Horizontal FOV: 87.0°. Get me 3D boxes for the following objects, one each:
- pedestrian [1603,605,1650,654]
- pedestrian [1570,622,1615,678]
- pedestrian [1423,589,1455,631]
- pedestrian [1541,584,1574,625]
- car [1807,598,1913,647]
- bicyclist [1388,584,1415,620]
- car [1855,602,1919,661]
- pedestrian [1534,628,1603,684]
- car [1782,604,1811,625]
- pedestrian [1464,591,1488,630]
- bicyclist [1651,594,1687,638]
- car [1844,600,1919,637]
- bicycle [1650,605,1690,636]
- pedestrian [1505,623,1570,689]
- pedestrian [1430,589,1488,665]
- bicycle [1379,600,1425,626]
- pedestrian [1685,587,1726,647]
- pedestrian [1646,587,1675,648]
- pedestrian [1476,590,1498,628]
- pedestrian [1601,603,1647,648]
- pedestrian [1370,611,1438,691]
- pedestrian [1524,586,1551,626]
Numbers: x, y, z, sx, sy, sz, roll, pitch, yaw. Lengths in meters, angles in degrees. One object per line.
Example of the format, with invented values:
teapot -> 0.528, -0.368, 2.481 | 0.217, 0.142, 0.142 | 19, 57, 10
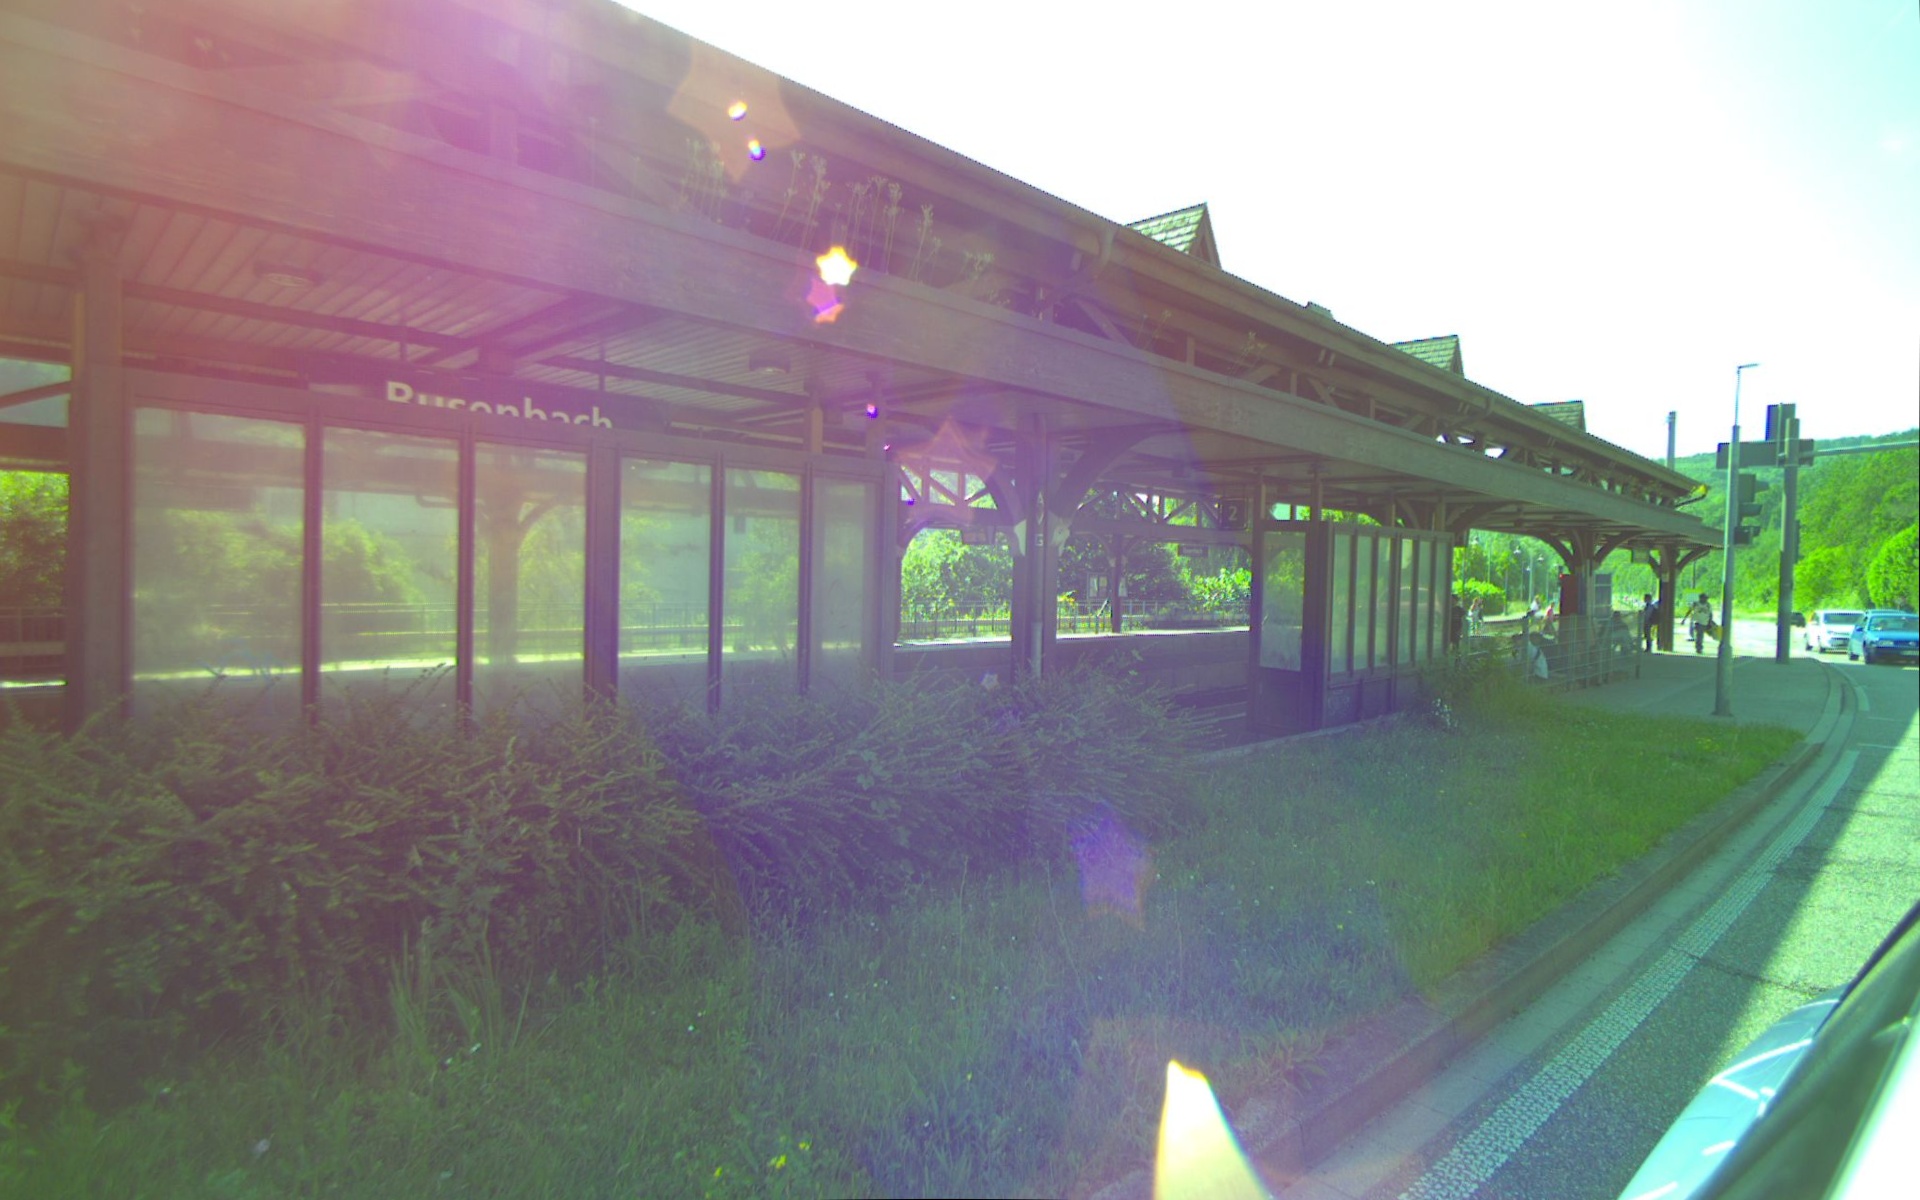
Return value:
pedestrian -> 17.412, 0.773, 26.445 | 0.988, 1.251, 0.589 | -1, -2, 36
pedestrian -> 11.261, 0.883, 18.032 | 0.616, 0.978, 0.400 | -1, -2, 42
pedestrian -> 21.878, 0.451, 46.211 | 1.054, 1.867, 0.989 | 3, -2, -42
pedestrian -> 25.408, 0.214, 43.046 | 0.805, 1.706, 0.905 | 1, -2, -14
car -> 30.912, 0.751, 34.898 | 1.984, 1.605, 3.955 | -1, -1, 31
bicyclist -> 21.090, 0.108, 48.347 | 0.805, 1.706, 0.905 | 1, -2, -27
car -> 26.411, 0.849, 28.065 | 1.854, 1.501, 4.248 | 2, 1, 35
pedestrian -> 10.125, 0.921, 16.844 | 0.844, 0.885, 0.795 | -1, -2, 42
car -> 75.696, 1.322, 91.580 | 1.990, 1.772, 3.942 | -1, -2, 40
pedestrian -> 22.938, 0.474, 44.975 | 0.894, 1.706, 0.815 | 0, -2, 26
bicyclist -> 25.684, 0.574, 36.668 | 0.776, 1.589, 0.942 | -1, -1, 17
car -> 40.172, 0.795, 43.994 | 1.965, 1.523, 3.941 | 0, -1, 31
bicycle -> 25.757, 0.733, 36.739 | 0.595, 1.069, 1.804 | -1, -1, 16
pedestrian -> 9.107, 0.865, 15.949 | 0.741, 0.995, 0.757 | -1, -2, 42
pedestrian -> 10.645, 0.565, 21.575 | 0.860, 1.567, 0.908 | 1, -1, 43
bicycle -> 21.095, 0.633, 48.323 | 0.695, 1.224, 2.023 | 1, -2, -27
pedestrian -> 22.526, 0.510, 30.574 | 0.912, 1.759, 1.233 | -1, -2, 40
pedestrian -> 20.145, 0.486, 29.114 | 0.655, 1.713, 0.730 | 1, 1, 35
pedestrian -> 24.013, 0.432, 46.137 | 0.669, 1.706, 0.560 | 1, -2, -20
pedestrian -> 18.040, 0.674, 27.501 | 1.003, 1.174, 0.937 | 1, 0, 35
pedestrian -> 6.495, 0.726, 14.805 | 0.741, 1.131, 0.657 | -1, -2, 42
pedestrian -> 25.175, 0.270, 44.097 | 0.864, 1.706, 0.810 | -1, -2, 42
